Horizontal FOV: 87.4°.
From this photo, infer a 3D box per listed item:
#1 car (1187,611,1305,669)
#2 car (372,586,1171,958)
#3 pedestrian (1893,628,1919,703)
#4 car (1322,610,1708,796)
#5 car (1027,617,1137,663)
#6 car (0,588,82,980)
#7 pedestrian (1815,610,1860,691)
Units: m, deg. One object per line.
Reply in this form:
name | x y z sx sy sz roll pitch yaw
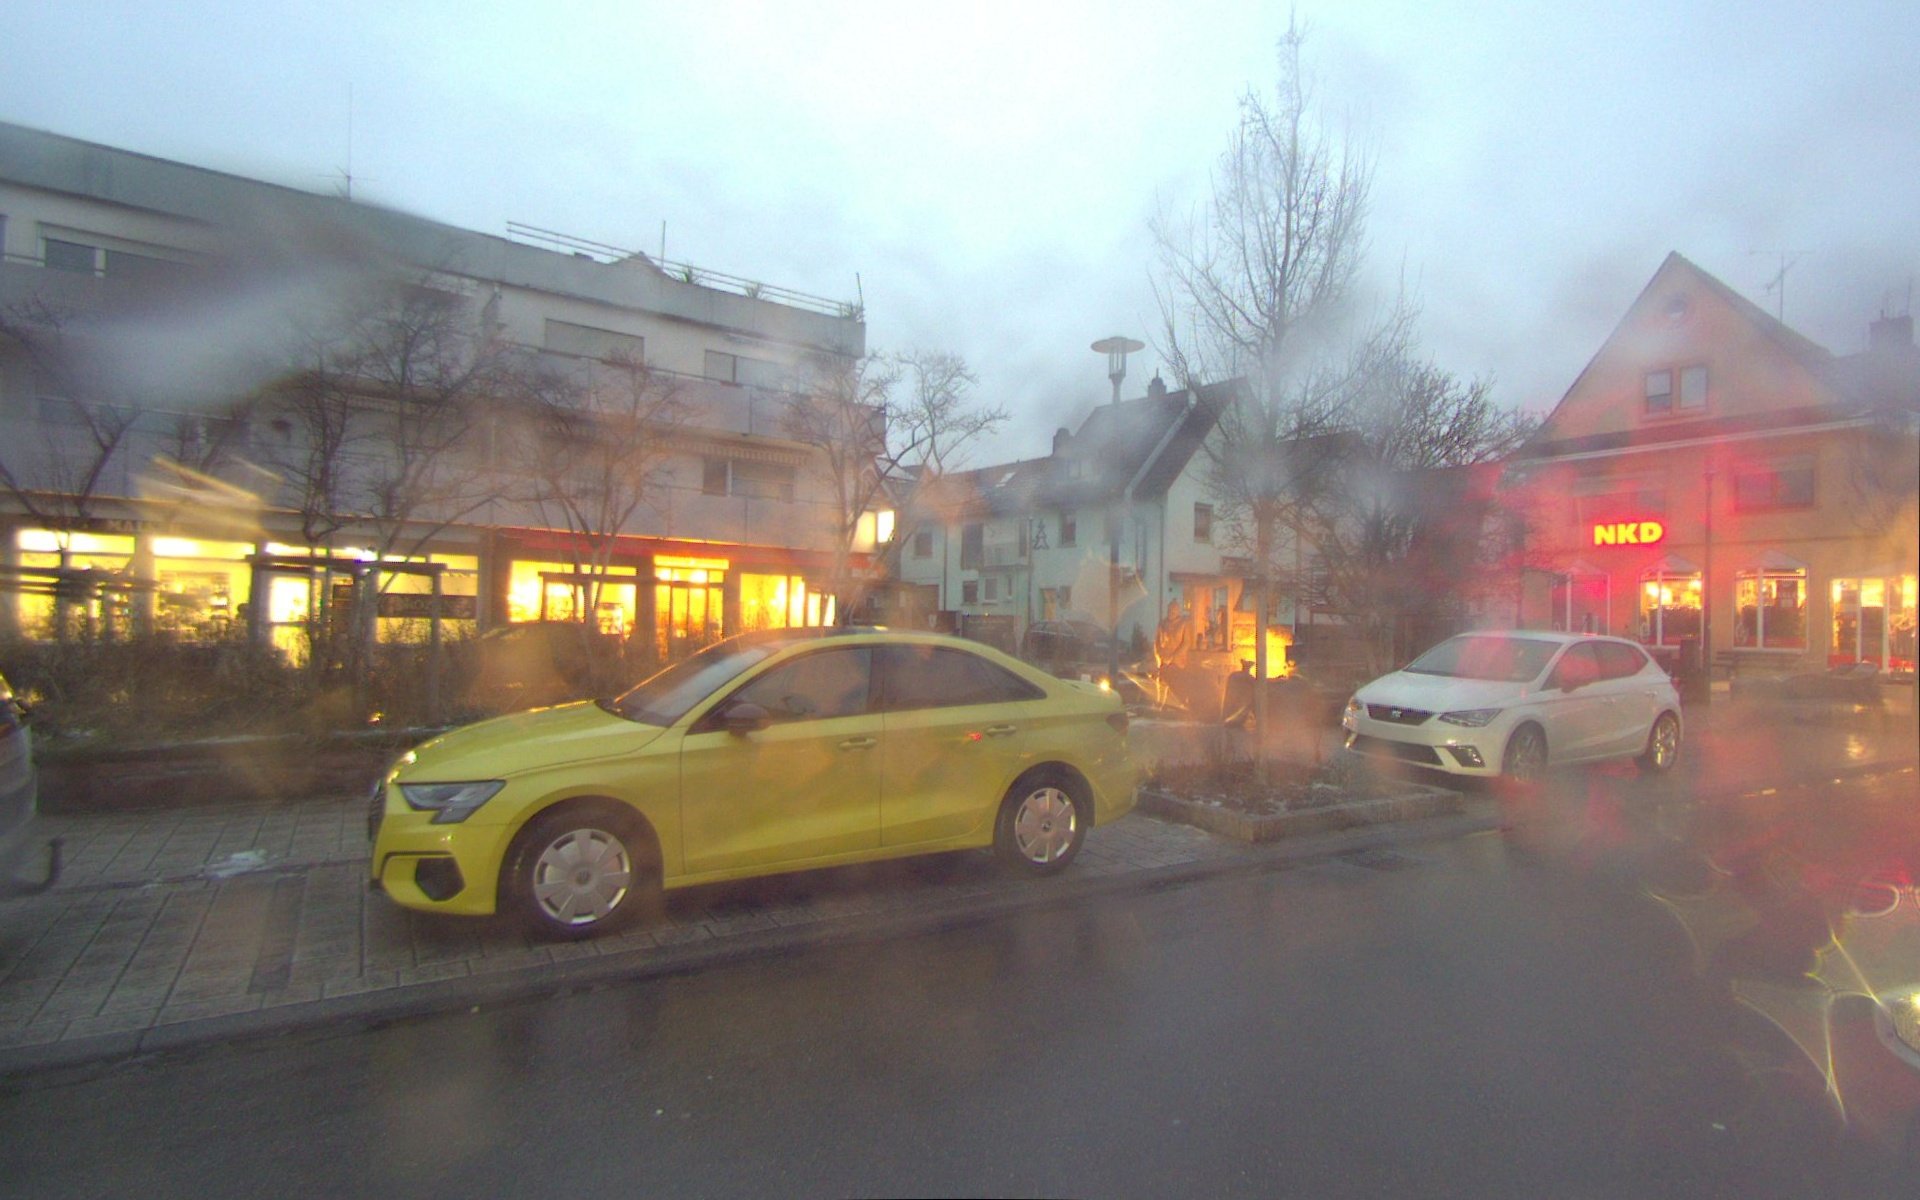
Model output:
car | 9.457 1.309 33.097 3.967 1.743 1.834 2 -1 -40
car | -0.981 0.763 6.007 4.290 1.536 1.741 2 1 -29
pedestrian | 19.477 1.346 20.062 0.766 1.437 0.887 2 5 -25
car | 5.750 0.940 10.312 3.953 1.536 1.661 2 1 -30
car | 4.435 1.425 36.893 1.604 1.539 3.854 2 -1 -43
car | -5.649 0.683 3.437 3.733 1.536 1.682 2 0 -33
pedestrian | 19.572 1.108 22.398 0.677 1.765 0.584 1 -1 -33
